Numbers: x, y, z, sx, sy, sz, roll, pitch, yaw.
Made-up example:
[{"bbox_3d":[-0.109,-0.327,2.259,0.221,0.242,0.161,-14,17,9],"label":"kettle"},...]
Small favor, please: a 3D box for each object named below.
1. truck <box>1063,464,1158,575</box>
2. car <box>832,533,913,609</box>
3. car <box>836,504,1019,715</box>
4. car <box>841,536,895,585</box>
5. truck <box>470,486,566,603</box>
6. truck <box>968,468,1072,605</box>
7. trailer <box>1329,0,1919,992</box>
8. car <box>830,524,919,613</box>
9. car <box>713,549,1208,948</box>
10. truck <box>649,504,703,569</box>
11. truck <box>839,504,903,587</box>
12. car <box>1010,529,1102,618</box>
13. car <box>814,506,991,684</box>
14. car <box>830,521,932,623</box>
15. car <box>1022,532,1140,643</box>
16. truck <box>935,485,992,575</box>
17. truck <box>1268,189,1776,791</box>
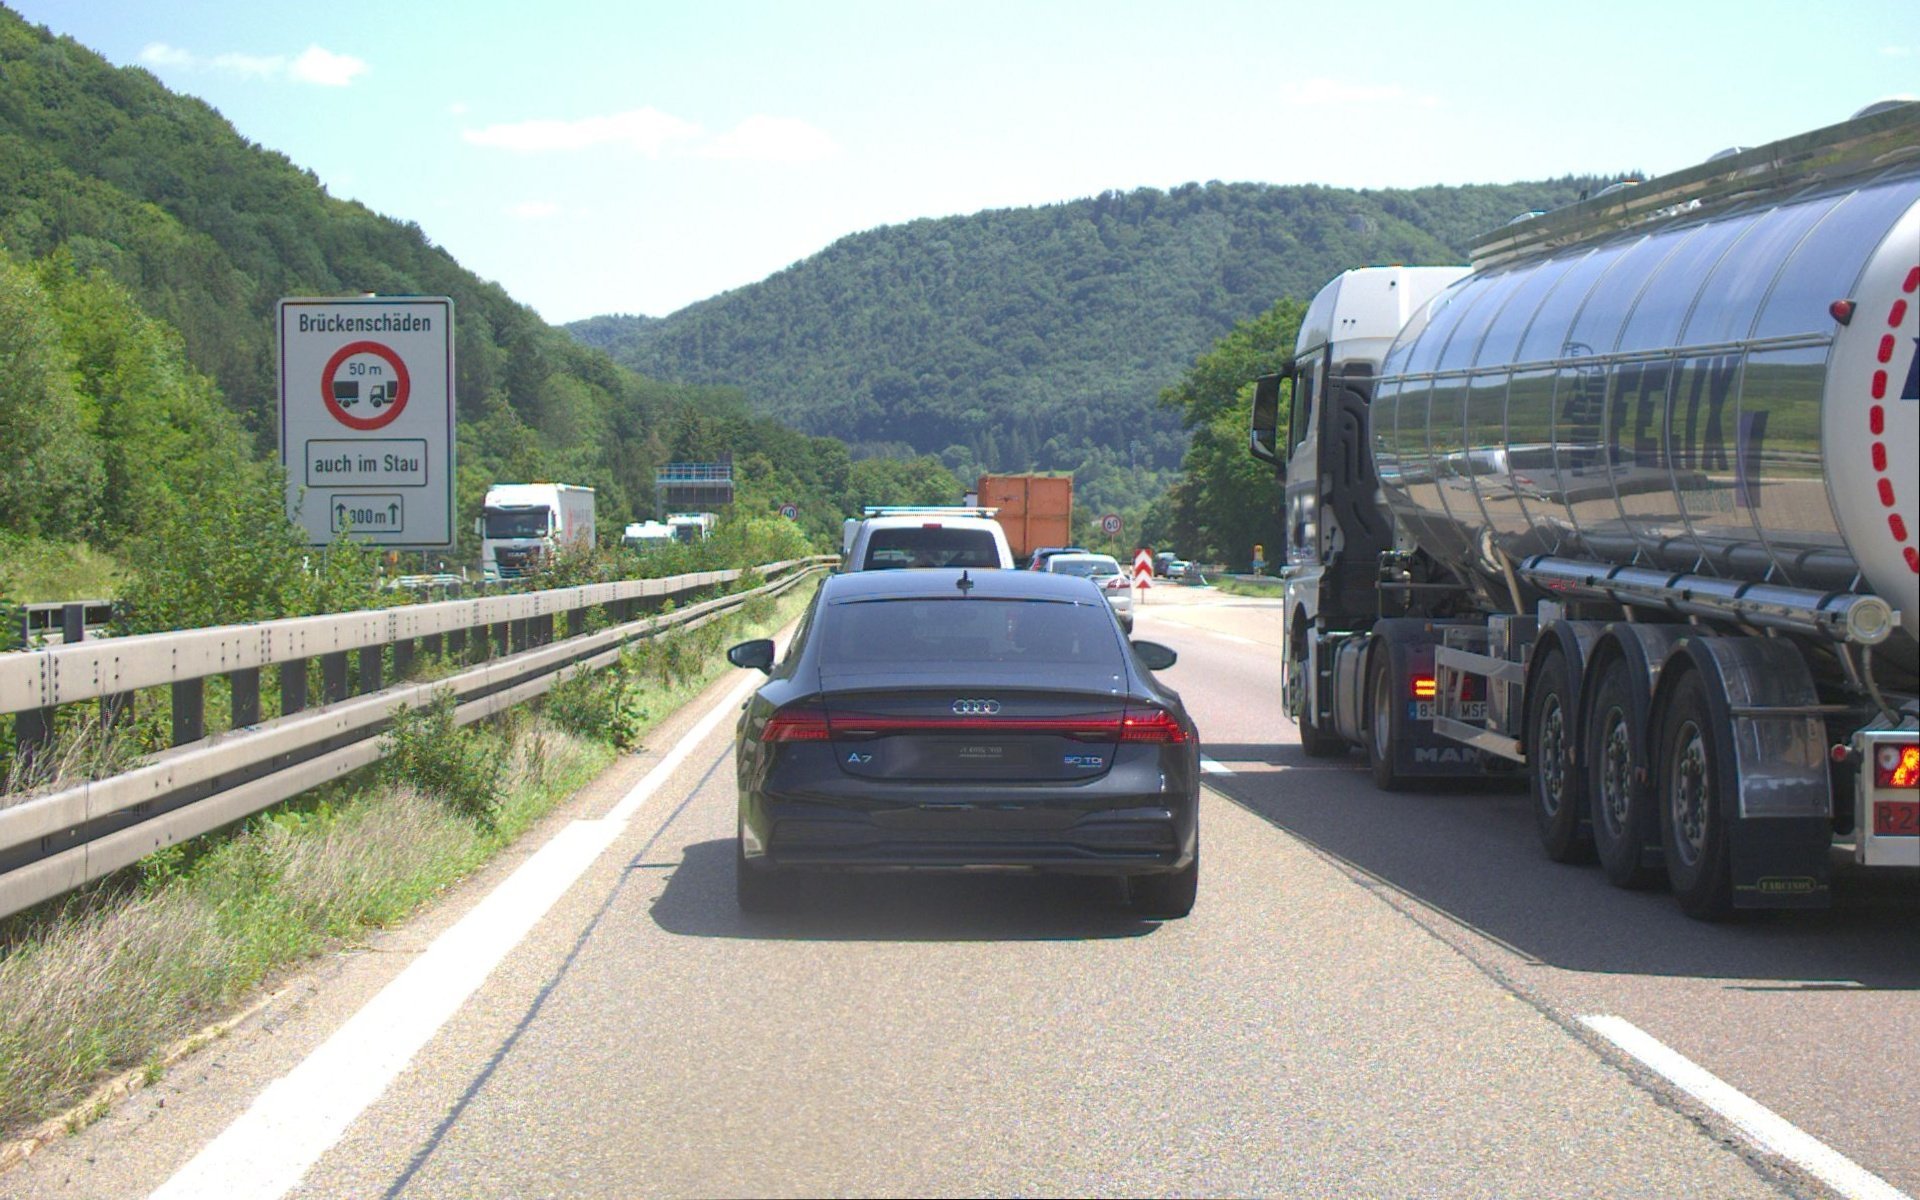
[{"bbox_3d":[5.653,-3.014,131.858,2.817,3.989,14.956,1,1,-1],"label":"truck"},{"bbox_3d":[-1.910,-0.654,75.966,1.712,1.613,4.000,0,1,0],"label":"car"},{"bbox_3d":[-0.330,0.054,31.965,1.575,1.827,4.000,1,1,-1],"label":"car"},{"bbox_3d":[-3.046,-1.326,114.650,1.712,1.613,4.000,0,1,0],"label":"car"},{"bbox_3d":[-15.399,-1.934,120.010,2.728,3.988,5.370,0,1,-1],"label":"truck"},{"bbox_3d":[1.778,-1.965,107.767,2.817,3.989,14.956,1,1,-1],"label":"truck"},{"bbox_3d":[4.010,-0.617,17.580,2.538,3.723,11.893,1,1,-2],"label":"trailer"},{"bbox_3d":[-1.986,-0.737,79.696,1.993,2.007,4.000,0,1,-2],"label":"car"},{"bbox_3d":[-0.069,0.531,14.965,1.849,1.483,4.083,1,1,-2],"label":"car"},{"bbox_3d":[-17.873,-3.999,216.928,2.869,3.967,9.033,1,1,-2],"label":"truck"},{"bbox_3d":[-3.803,-2.360,148.683,2.628,3.429,11.421,0,1,-1],"label":"truck"},{"bbox_3d":[2.196,-0.639,79.609,1.993,1.996,4.000,0,1,0],"label":"car"},{"bbox_3d":[-0.704,-0.085,41.195,1.993,2.007,4.000,1,1,-1],"label":"car"},{"bbox_3d":[-1.608,-0.579,69.659,1.993,2.007,4.000,0,1,-2],"label":"car"},{"bbox_3d":[2.246,-0.262,64.993,1.993,2.007,4.000,0,1,-1],"label":"car"},{"bbox_3d":[0.088,-2.758,137.650,1.993,3.435,11.812,1,1,-1],"label":"truck"},{"bbox_3d":[3.754,-0.723,24.150,2.511,3.745,5.246,1,1,-2],"label":"truck"}]
